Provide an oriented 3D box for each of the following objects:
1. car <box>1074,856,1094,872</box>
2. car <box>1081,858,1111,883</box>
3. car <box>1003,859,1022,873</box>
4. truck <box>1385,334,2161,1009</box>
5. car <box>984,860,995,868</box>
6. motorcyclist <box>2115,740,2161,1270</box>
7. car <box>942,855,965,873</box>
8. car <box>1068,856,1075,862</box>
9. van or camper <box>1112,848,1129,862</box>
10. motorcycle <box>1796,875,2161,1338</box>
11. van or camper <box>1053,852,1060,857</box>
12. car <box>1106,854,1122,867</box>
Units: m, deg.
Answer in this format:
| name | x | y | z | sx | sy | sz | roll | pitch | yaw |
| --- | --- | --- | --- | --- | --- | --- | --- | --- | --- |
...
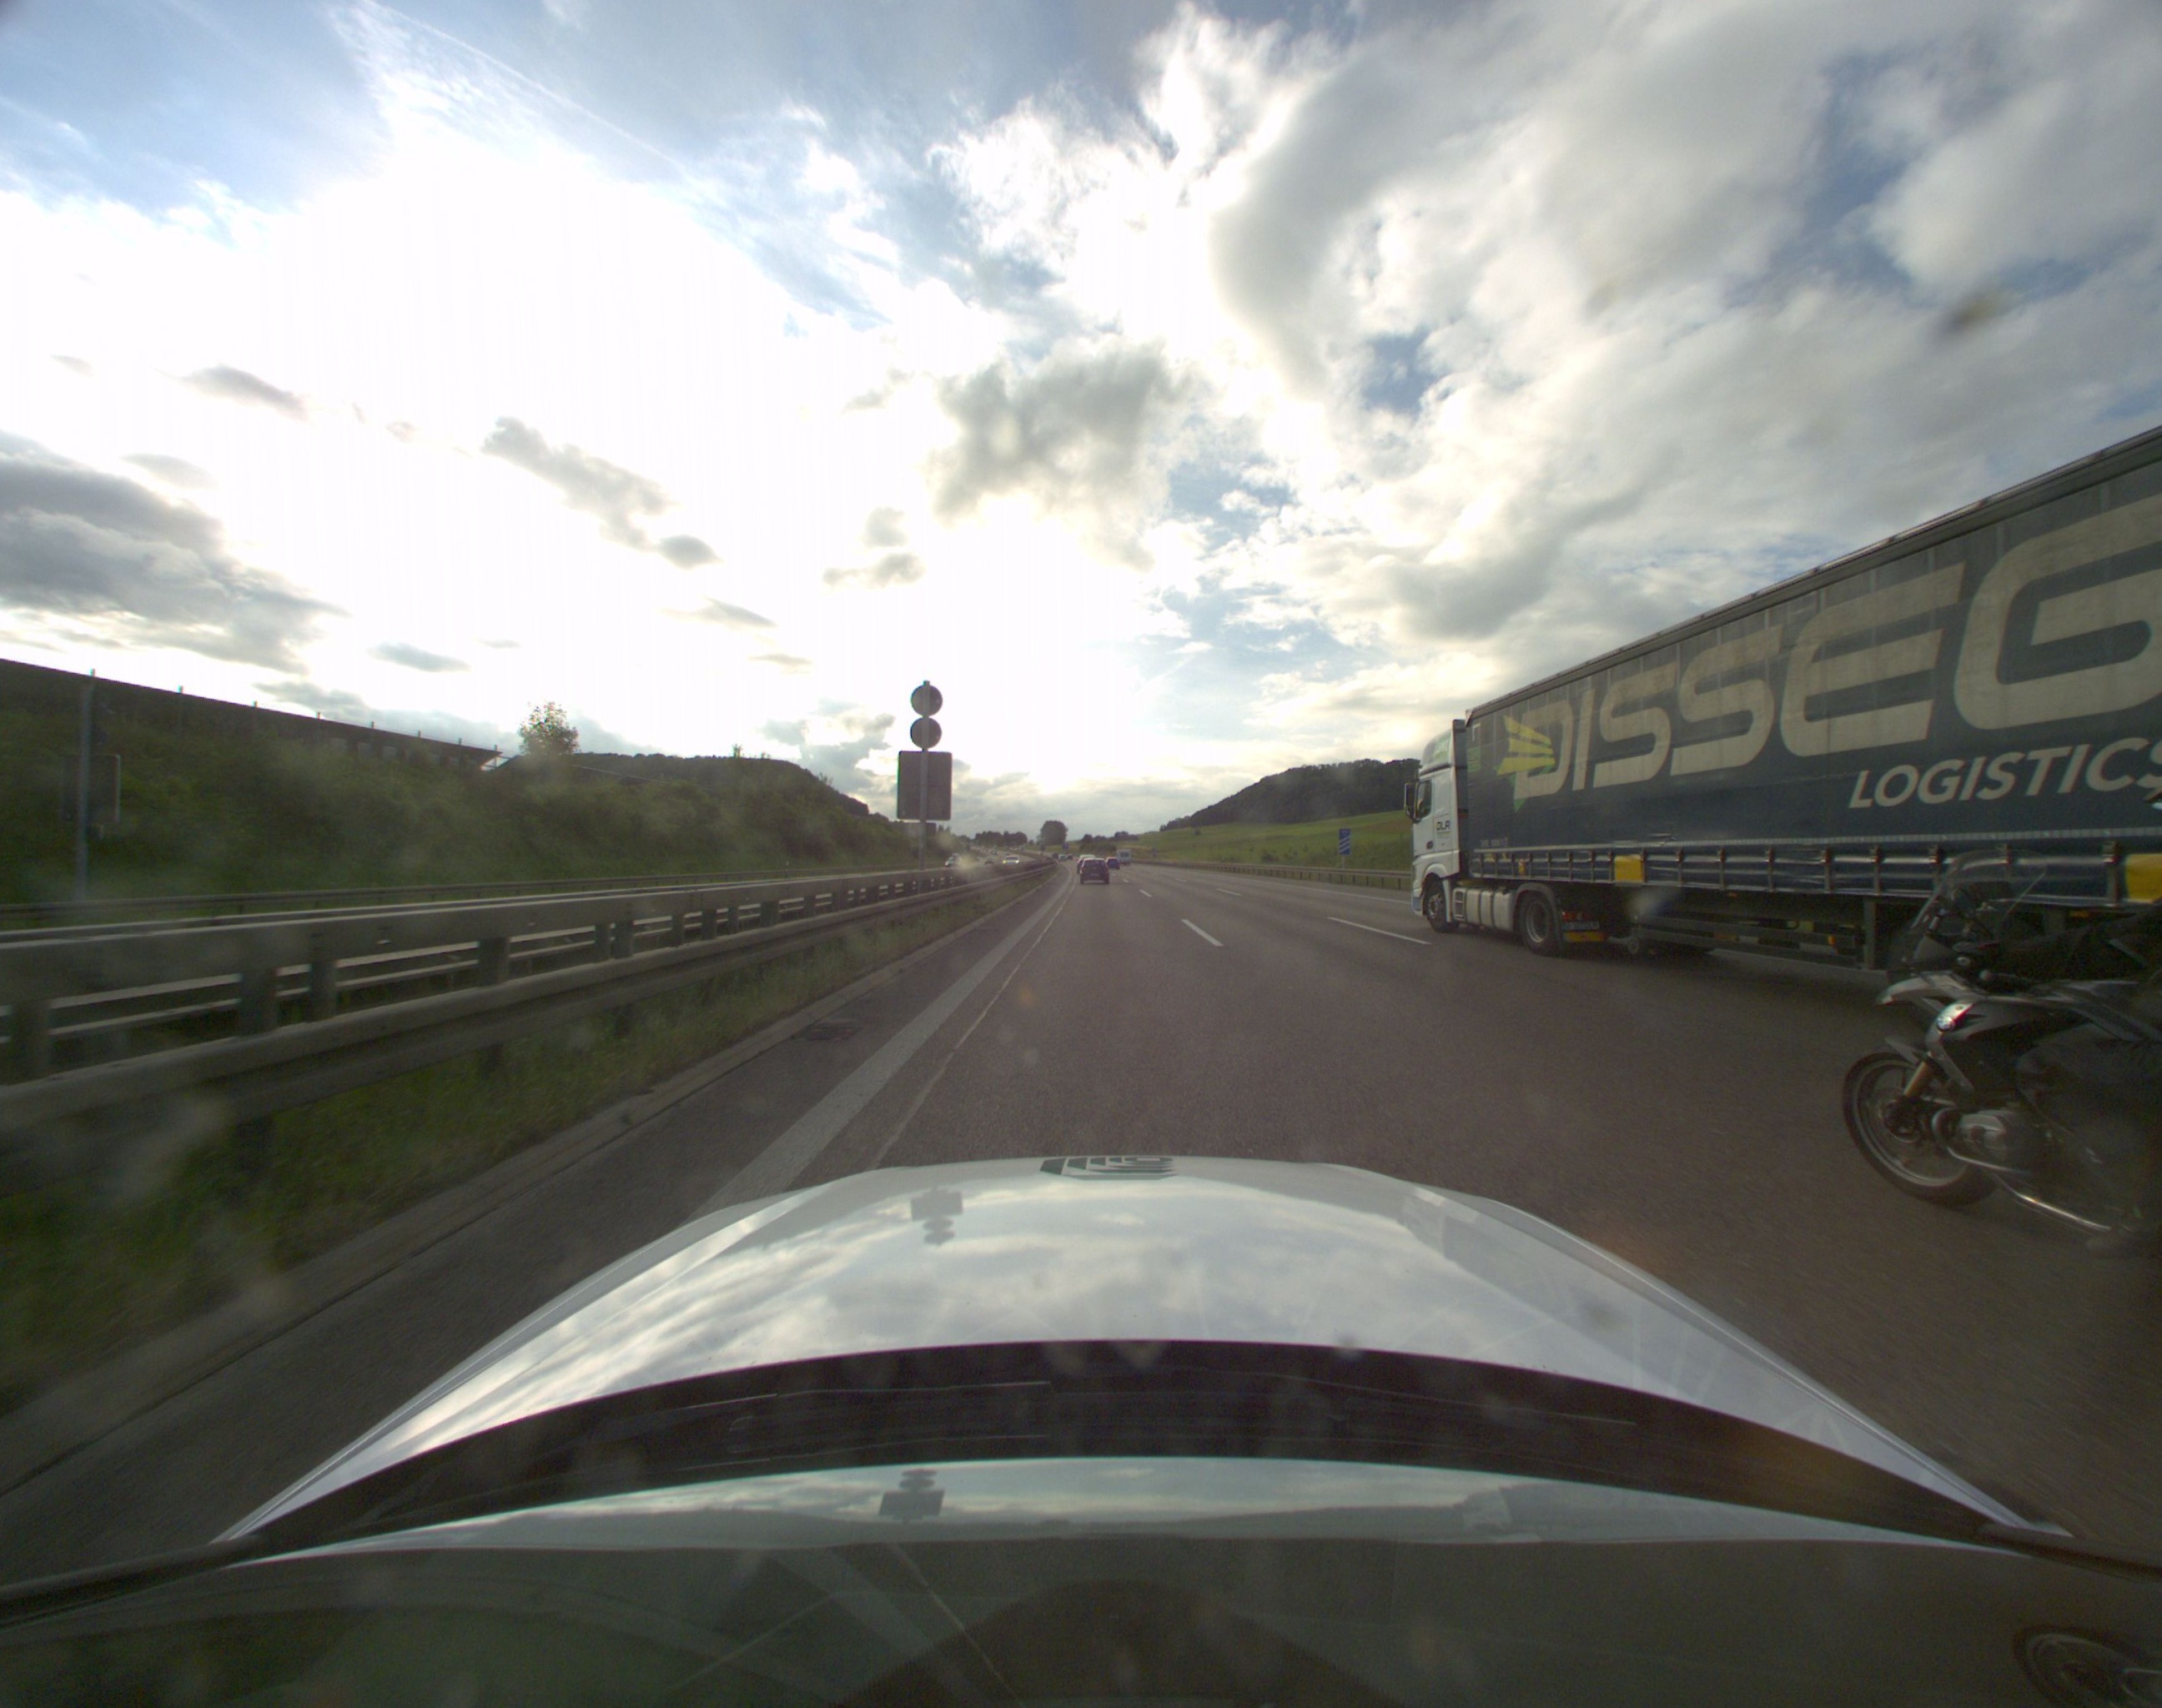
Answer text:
| name | x | y | z | sx | sy | sz | roll | pitch | yaw |
| --- | --- | --- | --- | --- | --- | --- | --- | --- | --- |
| car | 0.307 | 0.877 | 74.541 | 1.558 | 1.380 | 4.005 | -1 | 0 | 4 |
| car | 0.891 | 0.916 | 47.131 | 1.531 | 1.348 | 3.681 | -1 | 0 | 4 |
| car | -7.912 | 1.335 | 94.816 | 1.827 | 1.591 | 5.017 | 0 | 0 | -1 |
| truck | 8.000 | -1.086 | 9.146 | 2.953 | 3.992 | 17.737 | -1 | 0 | 2 |
| car | -17.212 | 1.844 | 153.074 | 1.702 | 1.415 | 3.997 | 0 | 0 | -2 |
| motorcyclist | 3.500 | 0.427 | 2.003 | 0.873 | 1.515 | 0.798 | 0 | -1 | 4 |
| car | -15.351 | 1.195 | 98.336 | 1.956 | 2.040 | 5.017 | 0 | 0 | -1 |
| car | -2.582 | 1.260 | 222.822 | 1.951 | 1.574 | 3.999 | -1 | 0 | 0 |
| van or camper | 6.443 | 0.187 | 132.851 | 2.537 | 2.239 | 5.334 | -1 | 0 | 4 |
| motorcycle | 3.547 | 0.769 | 2.840 | 0.624 | 1.339 | 1.740 | -1 | 0 | 3 |
| van or camper | -7.021 | 0.239 | 232.455 | 1.960 | 1.433 | 4.000 | 0 | 0 | 0 |
| car | 3.919 | 0.784 | 96.907 | 1.761 | 1.433 | 4.000 | -1 | 0 | 0 |
